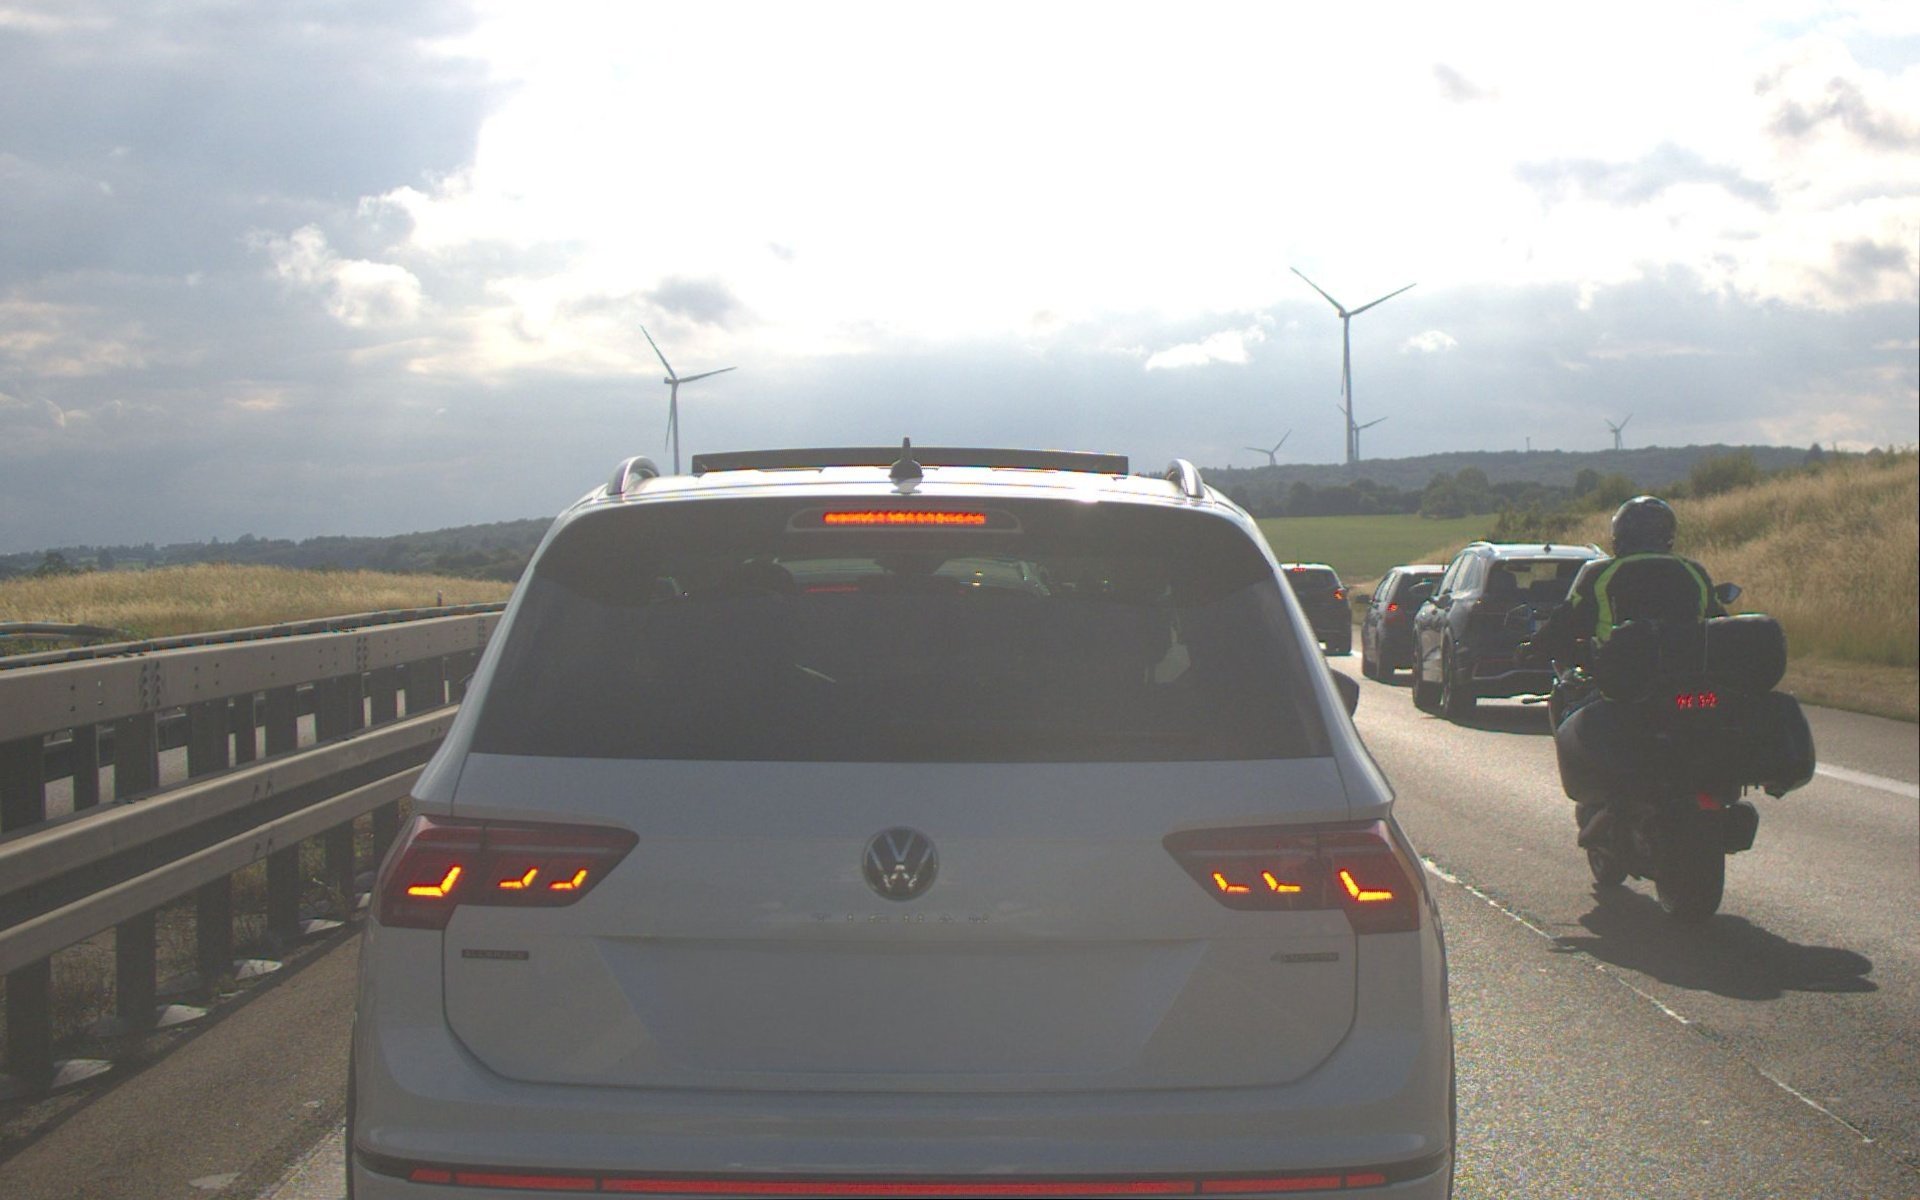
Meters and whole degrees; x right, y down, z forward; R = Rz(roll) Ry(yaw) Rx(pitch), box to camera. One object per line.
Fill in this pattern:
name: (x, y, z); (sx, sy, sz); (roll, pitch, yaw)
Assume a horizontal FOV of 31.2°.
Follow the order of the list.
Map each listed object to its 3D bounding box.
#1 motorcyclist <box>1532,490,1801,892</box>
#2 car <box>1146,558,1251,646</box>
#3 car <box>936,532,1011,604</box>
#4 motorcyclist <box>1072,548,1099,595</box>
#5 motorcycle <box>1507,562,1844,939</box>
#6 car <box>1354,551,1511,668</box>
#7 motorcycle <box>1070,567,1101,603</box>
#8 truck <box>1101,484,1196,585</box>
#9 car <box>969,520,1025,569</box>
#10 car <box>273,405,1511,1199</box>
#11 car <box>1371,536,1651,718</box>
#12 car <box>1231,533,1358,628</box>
motorcyclist: (2.925, 0.361, 14.325); (0.895, 1.611, 1.022); (0, 0, -1)
car: (4.590, 0.017, 66.557); (1.704, 1.644, 4.000); (0, 0, -1)
car: (0.289, -0.738, 80.171); (1.704, 1.644, 4.000); (0, 0, -1)
motorcyclist: (4.142, -0.942, 113.708); (0.849, 1.554, 0.934); (0, 0, -1)
motorcycle: (2.929, 0.567, 14.345); (0.895, 1.450, 2.269); (0, 0, -1)
car: (5.939, 0.095, 43.538); (1.606, 1.415, 3.672); (0, 0, 2)
motorcycle: (4.140, -0.513, 113.756); (0.895, 1.186, 2.257); (0, 0, -1)
truck: (6.889, -2.426, 127.101); (3.184, 3.581, 11.130); (0, 1, 1)
car: (1.175, -1.760, 110.071); (1.704, 1.540, 4.000); (0, 0, -1)
car: (-0.116, 0.539, 6.919); (1.770, 1.670, 4.000); (0, 0, -1)
car: (5.241, 0.225, 33.232); (1.821, 1.596, 4.235); (1, 0, -2)
car: (5.551, -0.331, 57.440); (1.704, 1.540, 4.000); (0, 0, -1)
